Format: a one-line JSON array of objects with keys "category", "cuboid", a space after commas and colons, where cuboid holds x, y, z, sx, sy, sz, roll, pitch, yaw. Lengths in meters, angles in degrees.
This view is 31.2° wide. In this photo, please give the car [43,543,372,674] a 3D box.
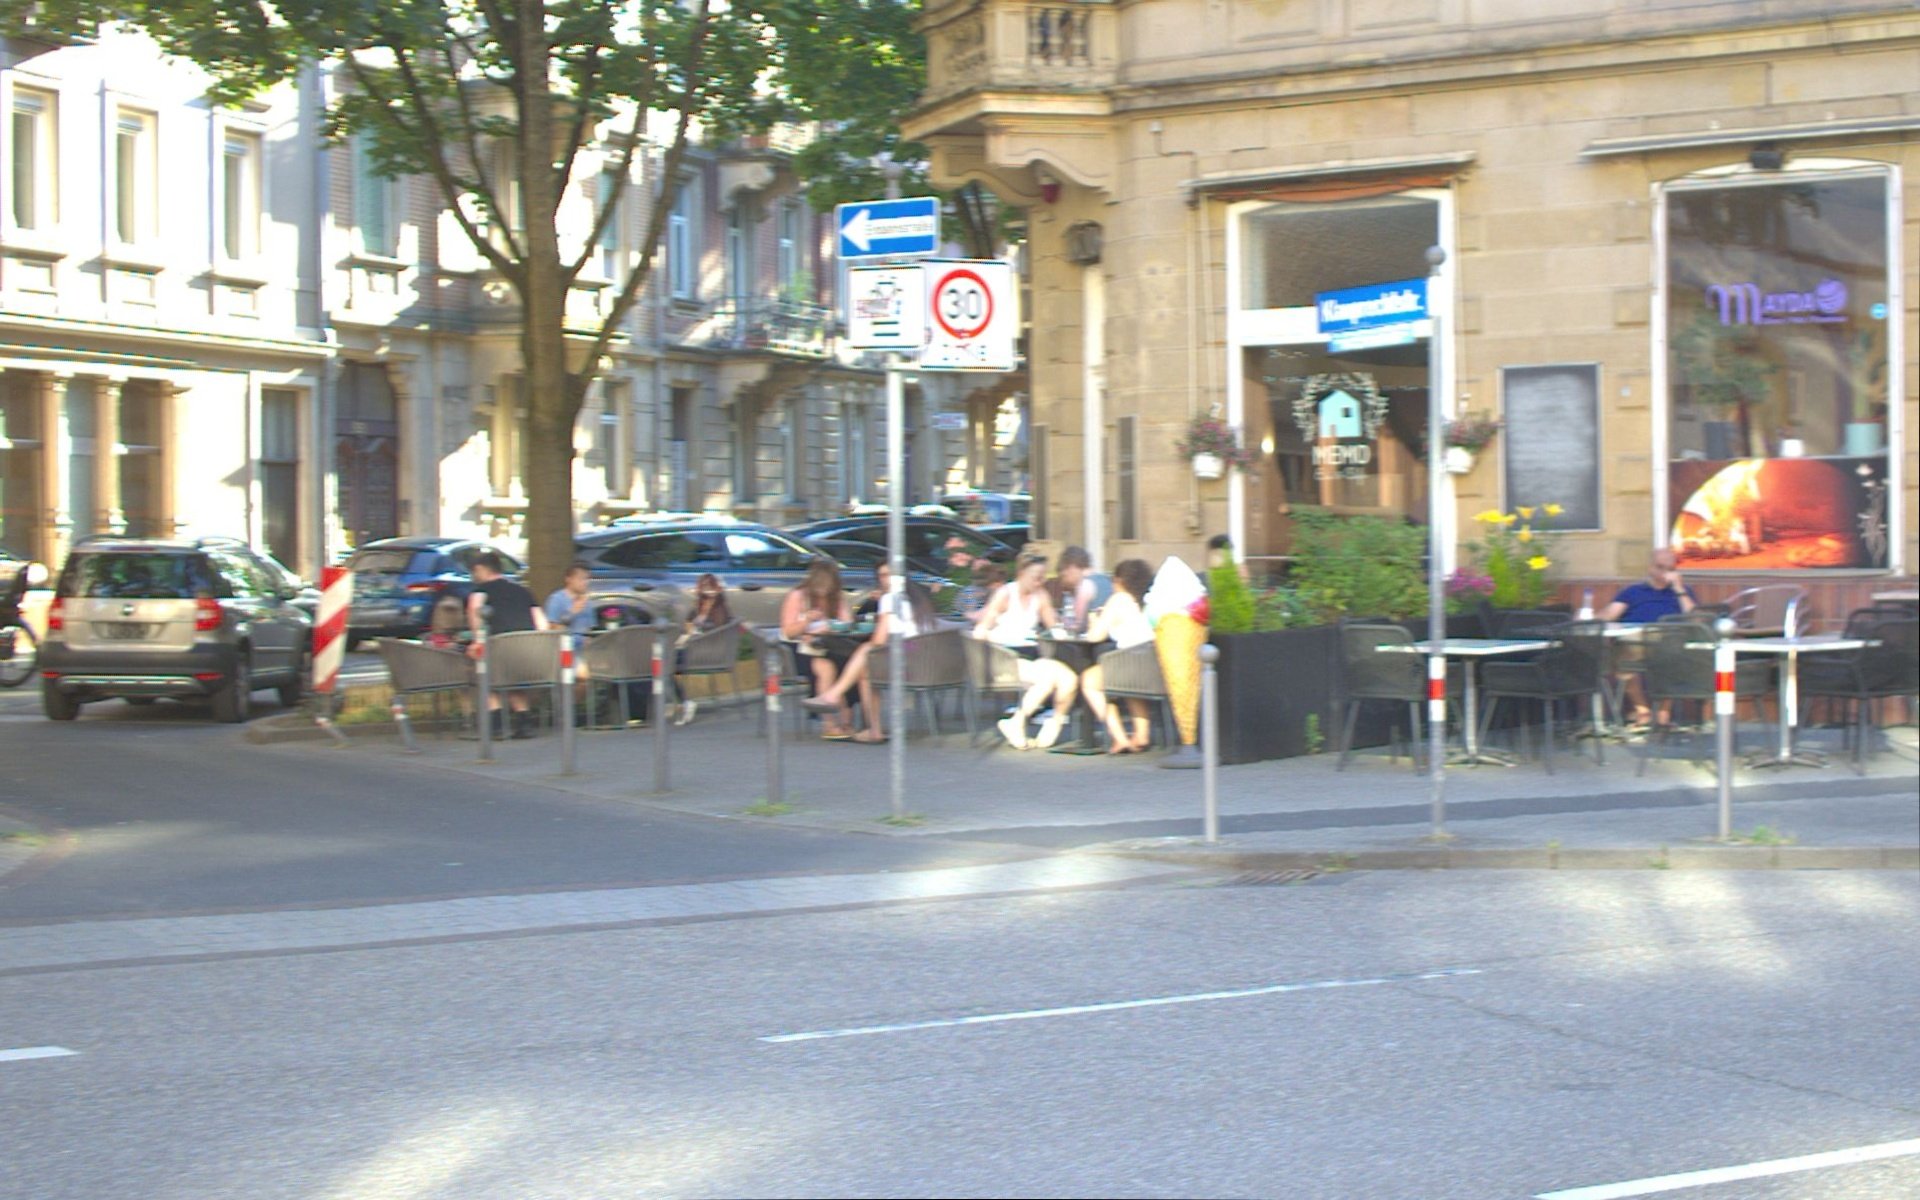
[{"category": "car", "cuboid": [-8.376, 0.065, 38.587, 1.925, 1.371, 3.748, 0, 1, 19]}]

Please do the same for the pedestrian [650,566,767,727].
[{"category": "pedestrian", "cuboid": [-1.962, 0.359, 26.788, 0.675, 1.211, 0.668, -2, 0, -26]}]

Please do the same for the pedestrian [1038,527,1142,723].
[{"category": "pedestrian", "cuboid": [0.967, 0.177, 25.534, 0.569, 1.426, 0.481, 0, 2, 43]}]

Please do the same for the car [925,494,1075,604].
[{"category": "car", "cuboid": [0.817, -1.007, 67.036, 1.808, 2.077, 3.748, 0, 1, 19]}]

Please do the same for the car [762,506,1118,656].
[{"category": "car", "cuboid": [-0.274, -0.245, 40.696, 3.986, 1.678, 2.001, -1, 1, -7]}]

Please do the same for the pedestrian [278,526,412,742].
[{"category": "pedestrian", "cuboid": [-4.863, 0.260, 27.181, 0.765, 1.664, 0.668, -2, 0, -38]}]

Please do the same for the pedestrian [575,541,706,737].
[{"category": "pedestrian", "cuboid": [-2.420, 0.292, 26.038, 0.764, 1.437, 0.668, -2, 0, -24]}]

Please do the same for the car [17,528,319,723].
[{"category": "car", "cuboid": [-7.275, 0.182, 31.974, 1.993, 1.678, 4.001, -1, 1, -2]}]

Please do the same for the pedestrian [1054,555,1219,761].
[{"category": "pedestrian", "cuboid": [1.134, 0.358, 22.086, 0.745, 1.285, 0.741, 0, 1, 43]}]

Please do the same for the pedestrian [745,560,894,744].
[{"category": "pedestrian", "cuboid": [-0.989, 0.352, 24.213, 0.747, 1.244, 0.706, -3, 2, -39]}]

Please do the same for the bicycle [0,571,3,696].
[{"category": "bicycle", "cuboid": [-10.674, 0.334, 32.701, 3.129, 1.176, 0.751, 0, 1, 19]}]

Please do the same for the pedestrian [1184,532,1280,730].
[{"category": "pedestrian", "cuboid": [1.910, 0.209, 24.163, 0.433, 1.362, 0.482, -3, 2, -45]}]

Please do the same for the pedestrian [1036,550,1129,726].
[{"category": "pedestrian", "cuboid": [0.884, 0.265, 24.779, 0.432, 1.244, 0.482, -3, 2, -39]}]

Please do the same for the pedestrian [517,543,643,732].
[{"category": "pedestrian", "cuboid": [-2.981, 0.288, 26.912, 0.764, 1.437, 0.668, -2, 0, -24]}]

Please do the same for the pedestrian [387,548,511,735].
[{"category": "pedestrian", "cuboid": [-3.968, 0.316, 26.676, 0.764, 1.407, 0.668, -2, 0, -23]}]

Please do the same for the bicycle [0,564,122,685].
[{"category": "bicycle", "cuboid": [-10.002, 0.249, 34.571, 3.129, 1.176, 0.751, 0, 1, 19]}]

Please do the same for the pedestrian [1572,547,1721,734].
[{"category": "pedestrian", "cuboid": [4.577, 0.261, 22.919, 0.727, 1.209, 0.755, 0, 1, 34]}]

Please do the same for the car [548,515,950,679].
[{"category": "car", "cuboid": [-2.166, -0.053, 34.830, 3.822, 1.556, 1.804, -1, 1, -12]}]

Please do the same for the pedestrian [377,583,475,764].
[{"category": "pedestrian", "cuboid": [-4.000, 0.544, 25.754, 0.570, 1.315, 0.505, -2, 2, -26]}]

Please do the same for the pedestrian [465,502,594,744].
[{"category": "pedestrian", "cuboid": [-3.219, 0.168, 25.706, 0.764, 1.764, 0.572, -2, 0, -24]}]

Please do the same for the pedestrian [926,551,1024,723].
[{"category": "pedestrian", "cuboid": [0.113, 0.265, 25.402, 0.509, 1.244, 0.482, -3, 2, -39]}]

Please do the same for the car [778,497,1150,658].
[{"category": "car", "cuboid": [0.082, -0.261, 38.004, 3.987, 1.678, 2.000, -1, 1, 2]}]

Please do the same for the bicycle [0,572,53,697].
[{"category": "bicycle", "cuboid": [-10.412, 0.335, 33.505, 3.129, 1.176, 0.751, 0, 1, 19]}]

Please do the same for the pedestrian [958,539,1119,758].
[{"category": "pedestrian", "cuboid": [0.515, 0.305, 22.649, 0.756, 1.406, 0.726, 0, 1, 41]}]

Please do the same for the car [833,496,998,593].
[{"category": "car", "cuboid": [-0.763, -1.015, 61.989, 1.808, 1.678, 3.748, 0, 1, 19]}]

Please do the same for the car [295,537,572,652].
[{"category": "car", "cuboid": [-6.603, -0.094, 43.518, 1.925, 1.371, 3.748, 0, 1, 19]}]

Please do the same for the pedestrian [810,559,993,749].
[{"category": "pedestrian", "cuboid": [-0.406, 0.353, 23.515, 0.747, 1.244, 1.024, -3, 2, -39]}]
